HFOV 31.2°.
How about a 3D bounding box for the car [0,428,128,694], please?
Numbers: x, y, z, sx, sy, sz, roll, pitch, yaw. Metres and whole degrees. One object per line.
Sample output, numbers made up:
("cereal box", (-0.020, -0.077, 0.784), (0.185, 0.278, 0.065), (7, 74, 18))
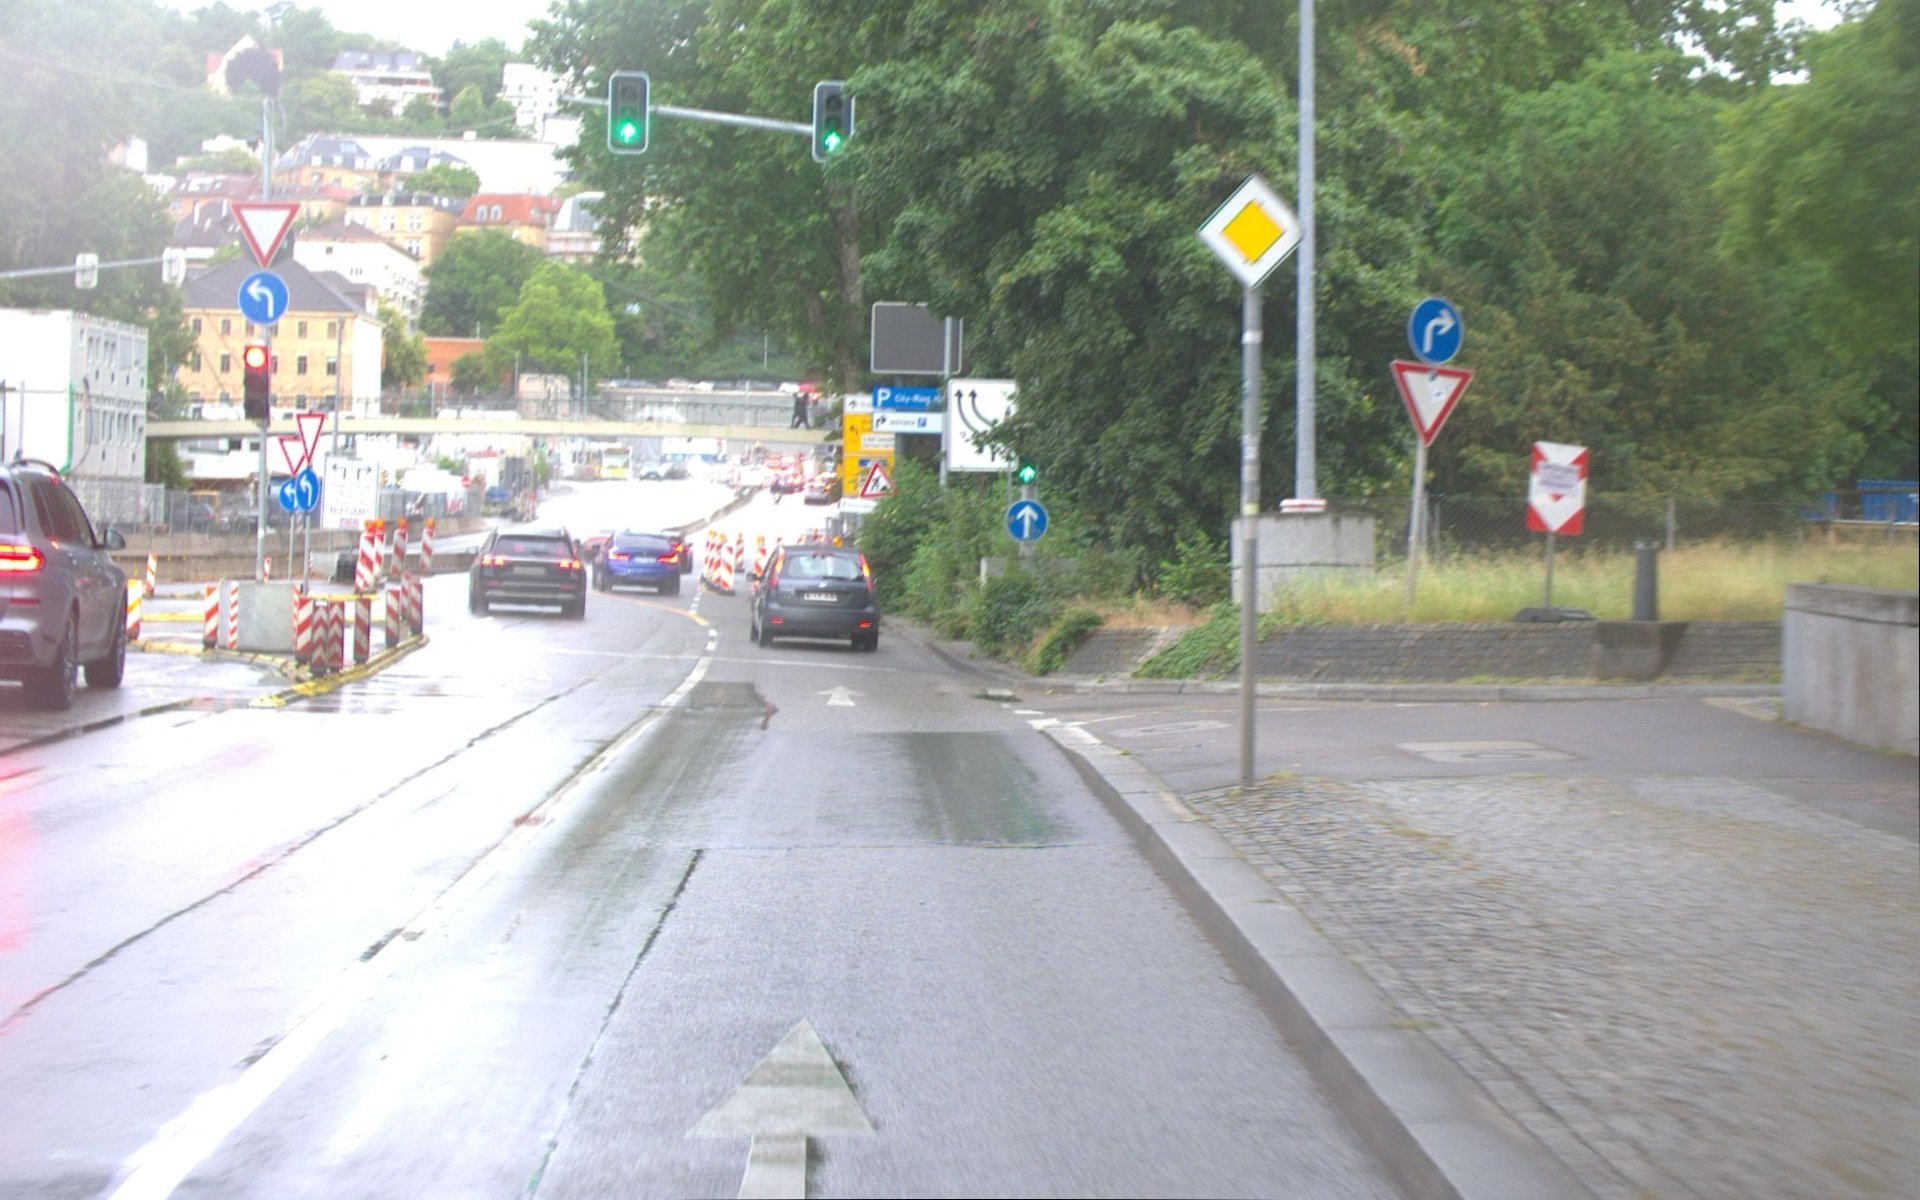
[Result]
("car", (-7.758, -0.345, 26.571), (2.209, 1.856, 5.075), (2, 1, -10))

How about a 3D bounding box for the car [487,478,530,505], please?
("car", (-28.912, -6.955, 220.092), (1.994, 1.616, 4.000), (2, 3, 3))

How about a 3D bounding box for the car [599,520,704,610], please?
("car", (-7.202, -0.820, 80.605), (2.104, 2.043, 4.000), (1, 1, -1))

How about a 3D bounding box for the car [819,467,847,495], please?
("car", (-8.955, -8.412, 242.540), (1.993, 1.863, 4.000), (1, 1, -2))

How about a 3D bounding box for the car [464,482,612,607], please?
("car", (-7.081, -0.928, 58.056), (2.016, 2.007, 4.000), (1, 1, -1))

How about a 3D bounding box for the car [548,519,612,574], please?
("car", (-14.261, -2.019, 129.308), (2.051, 2.007, 4.000), (1, 1, -2))

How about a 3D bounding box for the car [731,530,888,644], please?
("car", (-2.160, -0.202, 48.312), (1.812, 1.521, 4.001), (0, 1, -8))

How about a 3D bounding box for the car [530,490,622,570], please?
("car", (-10.790, -2.002, 96.899), (1.993, 2.006, 4.001), (0, 5, 2))
